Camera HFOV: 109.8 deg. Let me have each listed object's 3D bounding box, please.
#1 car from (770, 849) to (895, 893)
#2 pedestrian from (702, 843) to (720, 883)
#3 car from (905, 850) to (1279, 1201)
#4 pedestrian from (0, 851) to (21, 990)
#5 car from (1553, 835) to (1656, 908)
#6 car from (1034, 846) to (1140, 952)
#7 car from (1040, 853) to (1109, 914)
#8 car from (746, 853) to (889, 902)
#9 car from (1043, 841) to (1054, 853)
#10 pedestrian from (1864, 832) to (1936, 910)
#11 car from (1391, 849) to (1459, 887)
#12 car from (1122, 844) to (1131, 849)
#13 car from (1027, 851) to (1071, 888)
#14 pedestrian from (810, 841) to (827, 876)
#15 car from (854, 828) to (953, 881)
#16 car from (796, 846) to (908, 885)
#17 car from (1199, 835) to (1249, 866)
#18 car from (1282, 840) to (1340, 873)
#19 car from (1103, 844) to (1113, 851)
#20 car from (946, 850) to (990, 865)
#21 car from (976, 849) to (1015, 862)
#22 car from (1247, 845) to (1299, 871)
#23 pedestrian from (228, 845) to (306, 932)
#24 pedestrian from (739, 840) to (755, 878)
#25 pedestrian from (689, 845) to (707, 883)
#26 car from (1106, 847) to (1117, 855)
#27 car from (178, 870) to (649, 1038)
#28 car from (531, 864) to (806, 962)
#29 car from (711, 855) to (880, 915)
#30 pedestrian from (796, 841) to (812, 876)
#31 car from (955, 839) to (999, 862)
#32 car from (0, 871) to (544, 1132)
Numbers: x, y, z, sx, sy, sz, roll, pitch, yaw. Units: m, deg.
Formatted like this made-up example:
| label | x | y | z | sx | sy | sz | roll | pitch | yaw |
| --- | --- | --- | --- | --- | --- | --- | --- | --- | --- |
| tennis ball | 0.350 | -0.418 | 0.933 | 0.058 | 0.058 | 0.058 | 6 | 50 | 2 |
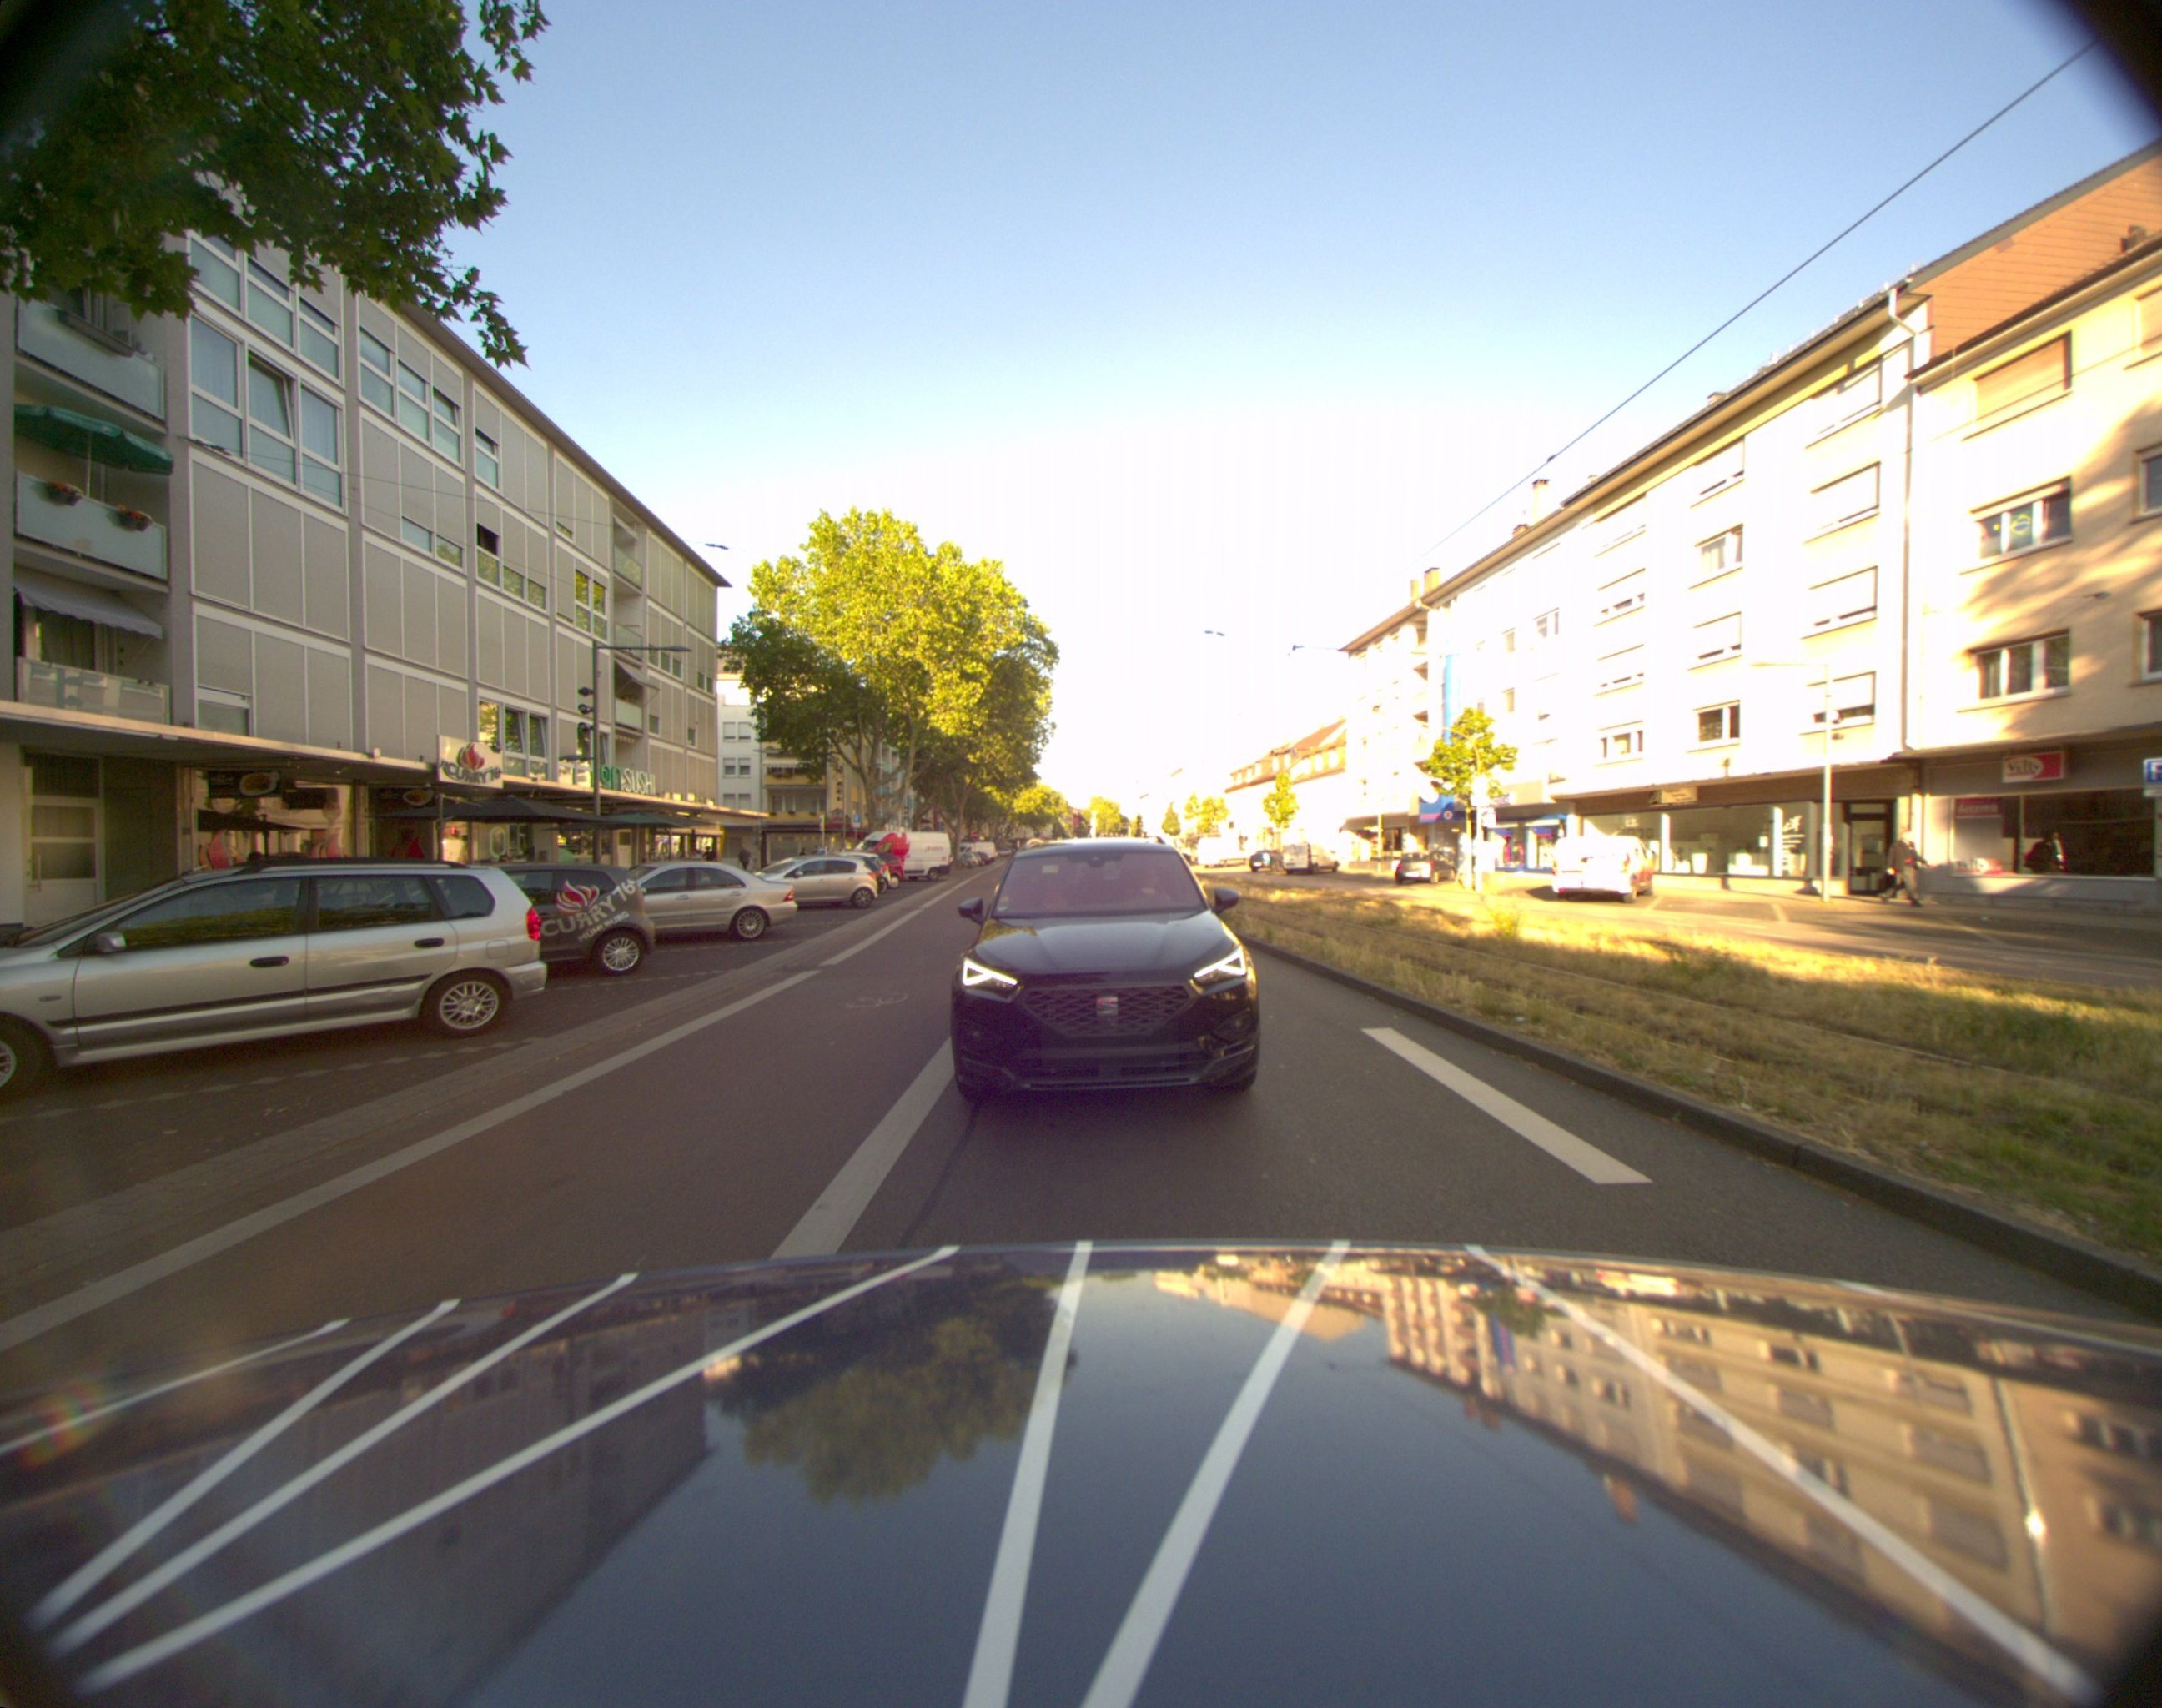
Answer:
| label | x | y | z | sx | sy | sz | roll | pitch | yaw |
| --- | --- | --- | --- | --- | --- | --- | --- | --- | --- |
| car | -8.915 | 0.631 | 27.345 | 3.948 | 1.421 | 1.672 | 2 | 2 | -32 |
| pedestrian | -15.722 | 0.387 | 32.304 | 0.545 | 1.710 | 0.457 | 0 | 1 | -4 |
| car | 0.081 | 0.841 | 5.746 | 1.785 | 1.639 | 3.999 | -2 | 1 | 1 |
| pedestrian | -12.392 | 0.748 | 8.336 | 0.561 | 1.567 | 0.642 | 0 | 1 | -5 |
| car | 15.602 | 0.452 | 22.570 | 1.853 | 1.888 | 4.007 | -1 | 2 | 44 |
| car | 0.074 | 0.707 | 14.256 | 1.646 | 1.646 | 3.999 | -2 | 1 | -1 |
| car | -0.181 | 0.763 | 21.714 | 1.729 | 1.467 | 3.999 | -2 | 1 | -1 |
| car | -8.310 | 0.727 | 24.071 | 3.949 | 1.420 | 1.672 | 1 | 1 | -34 |
| car | -8.303 | -1.867 | 195.978 | 2.660 | 2.989 | 7.131 | -2 | 1 | -2 |
| pedestrian | 19.762 | 0.393 | 18.358 | 0.757 | 1.817 | 0.917 | -1 | 1 | 1 |
| car | 15.401 | 0.589 | 33.917 | 1.731 | 1.489 | 4.008 | -1 | 1 | 40 |
| car | 14.978 | -2.489 | 250.264 | 2.496 | 1.871 | 5.276 | 0 | 1 | 8 |
| car | -1.359 | 0.622 | 33.746 | 1.729 | 1.443 | 4.227 | -2 | 1 | -1 |
| pedestrian | -15.029 | 0.241 | 43.503 | 0.748 | 2.002 | 0.764 | 0 | 1 | -4 |
| car | -8.757 | 0.023 | 37.829 | 4.606 | 2.479 | 1.672 | 0 | 0 | -44 |
| car | -9.179 | 0.467 | 30.511 | 3.948 | 1.421 | 1.672 | 1 | 2 | -32 |
| car | 12.958 | -0.359 | 68.634 | 1.922 | 2.599 | 6.601 | -1 | 1 | 34 |
| car | 14.541 | 0.113 | 47.849 | 1.853 | 1.927 | 4.513 | -1 | 1 | 40 |
| car | 6.694 | -1.614 | 186.953 | 1.999 | 1.783 | 3.998 | 0 | 1 | -4 |
| car | -10.813 | 0.283 | 72.917 | 1.778 | 1.396 | 3.943 | 1 | 1 | 44 |
| car | -9.258 | 0.168 | 82.731 | 1.778 | 1.326 | 3.943 | 1 | 1 | 44 |
| car | 13.800 | 0.245 | 54.516 | 3.922 | 1.704 | 1.853 | -2 | 1 | -45 |
| pedestrian | -15.133 | 0.624 | 14.139 | 0.583 | 1.573 | 0.771 | 0 | 1 | 2 |
| pedestrian | -17.746 | 0.237 | 40.347 | 0.749 | 2.002 | 0.558 | -1 | 1 | -25 |
| pedestrian | -16.262 | 0.423 | 32.279 | 0.537 | 1.630 | 0.478 | 0 | 1 | -4 |
| car | 5.824 | -0.633 | 145.374 | 1.846 | 1.571 | 4.449 | 0 | 1 | -2 |
| car | -7.598 | 0.963 | 9.018 | 1.672 | 1.420 | 3.950 | 2 | 1 | 38 |
| car | -7.111 | 0.911 | 13.411 | 1.592 | 1.393 | 3.950 | 2 | 1 | 41 |
| car | -7.590 | 0.793 | 20.455 | 3.950 | 1.420 | 1.555 | 1 | 1 | -45 |
| pedestrian | -15.869 | 0.249 | 43.530 | 0.748 | 1.964 | 0.575 | 0 | 1 | -4 |
| car | -11.581 | -0.411 | 85.078 | 1.973 | 2.454 | 4.605 | 1 | 1 | 44 |
| car | -6.884 | 0.964 | 6.000 | 1.672 | 1.533 | 3.993 | 2 | 1 | 38 |
